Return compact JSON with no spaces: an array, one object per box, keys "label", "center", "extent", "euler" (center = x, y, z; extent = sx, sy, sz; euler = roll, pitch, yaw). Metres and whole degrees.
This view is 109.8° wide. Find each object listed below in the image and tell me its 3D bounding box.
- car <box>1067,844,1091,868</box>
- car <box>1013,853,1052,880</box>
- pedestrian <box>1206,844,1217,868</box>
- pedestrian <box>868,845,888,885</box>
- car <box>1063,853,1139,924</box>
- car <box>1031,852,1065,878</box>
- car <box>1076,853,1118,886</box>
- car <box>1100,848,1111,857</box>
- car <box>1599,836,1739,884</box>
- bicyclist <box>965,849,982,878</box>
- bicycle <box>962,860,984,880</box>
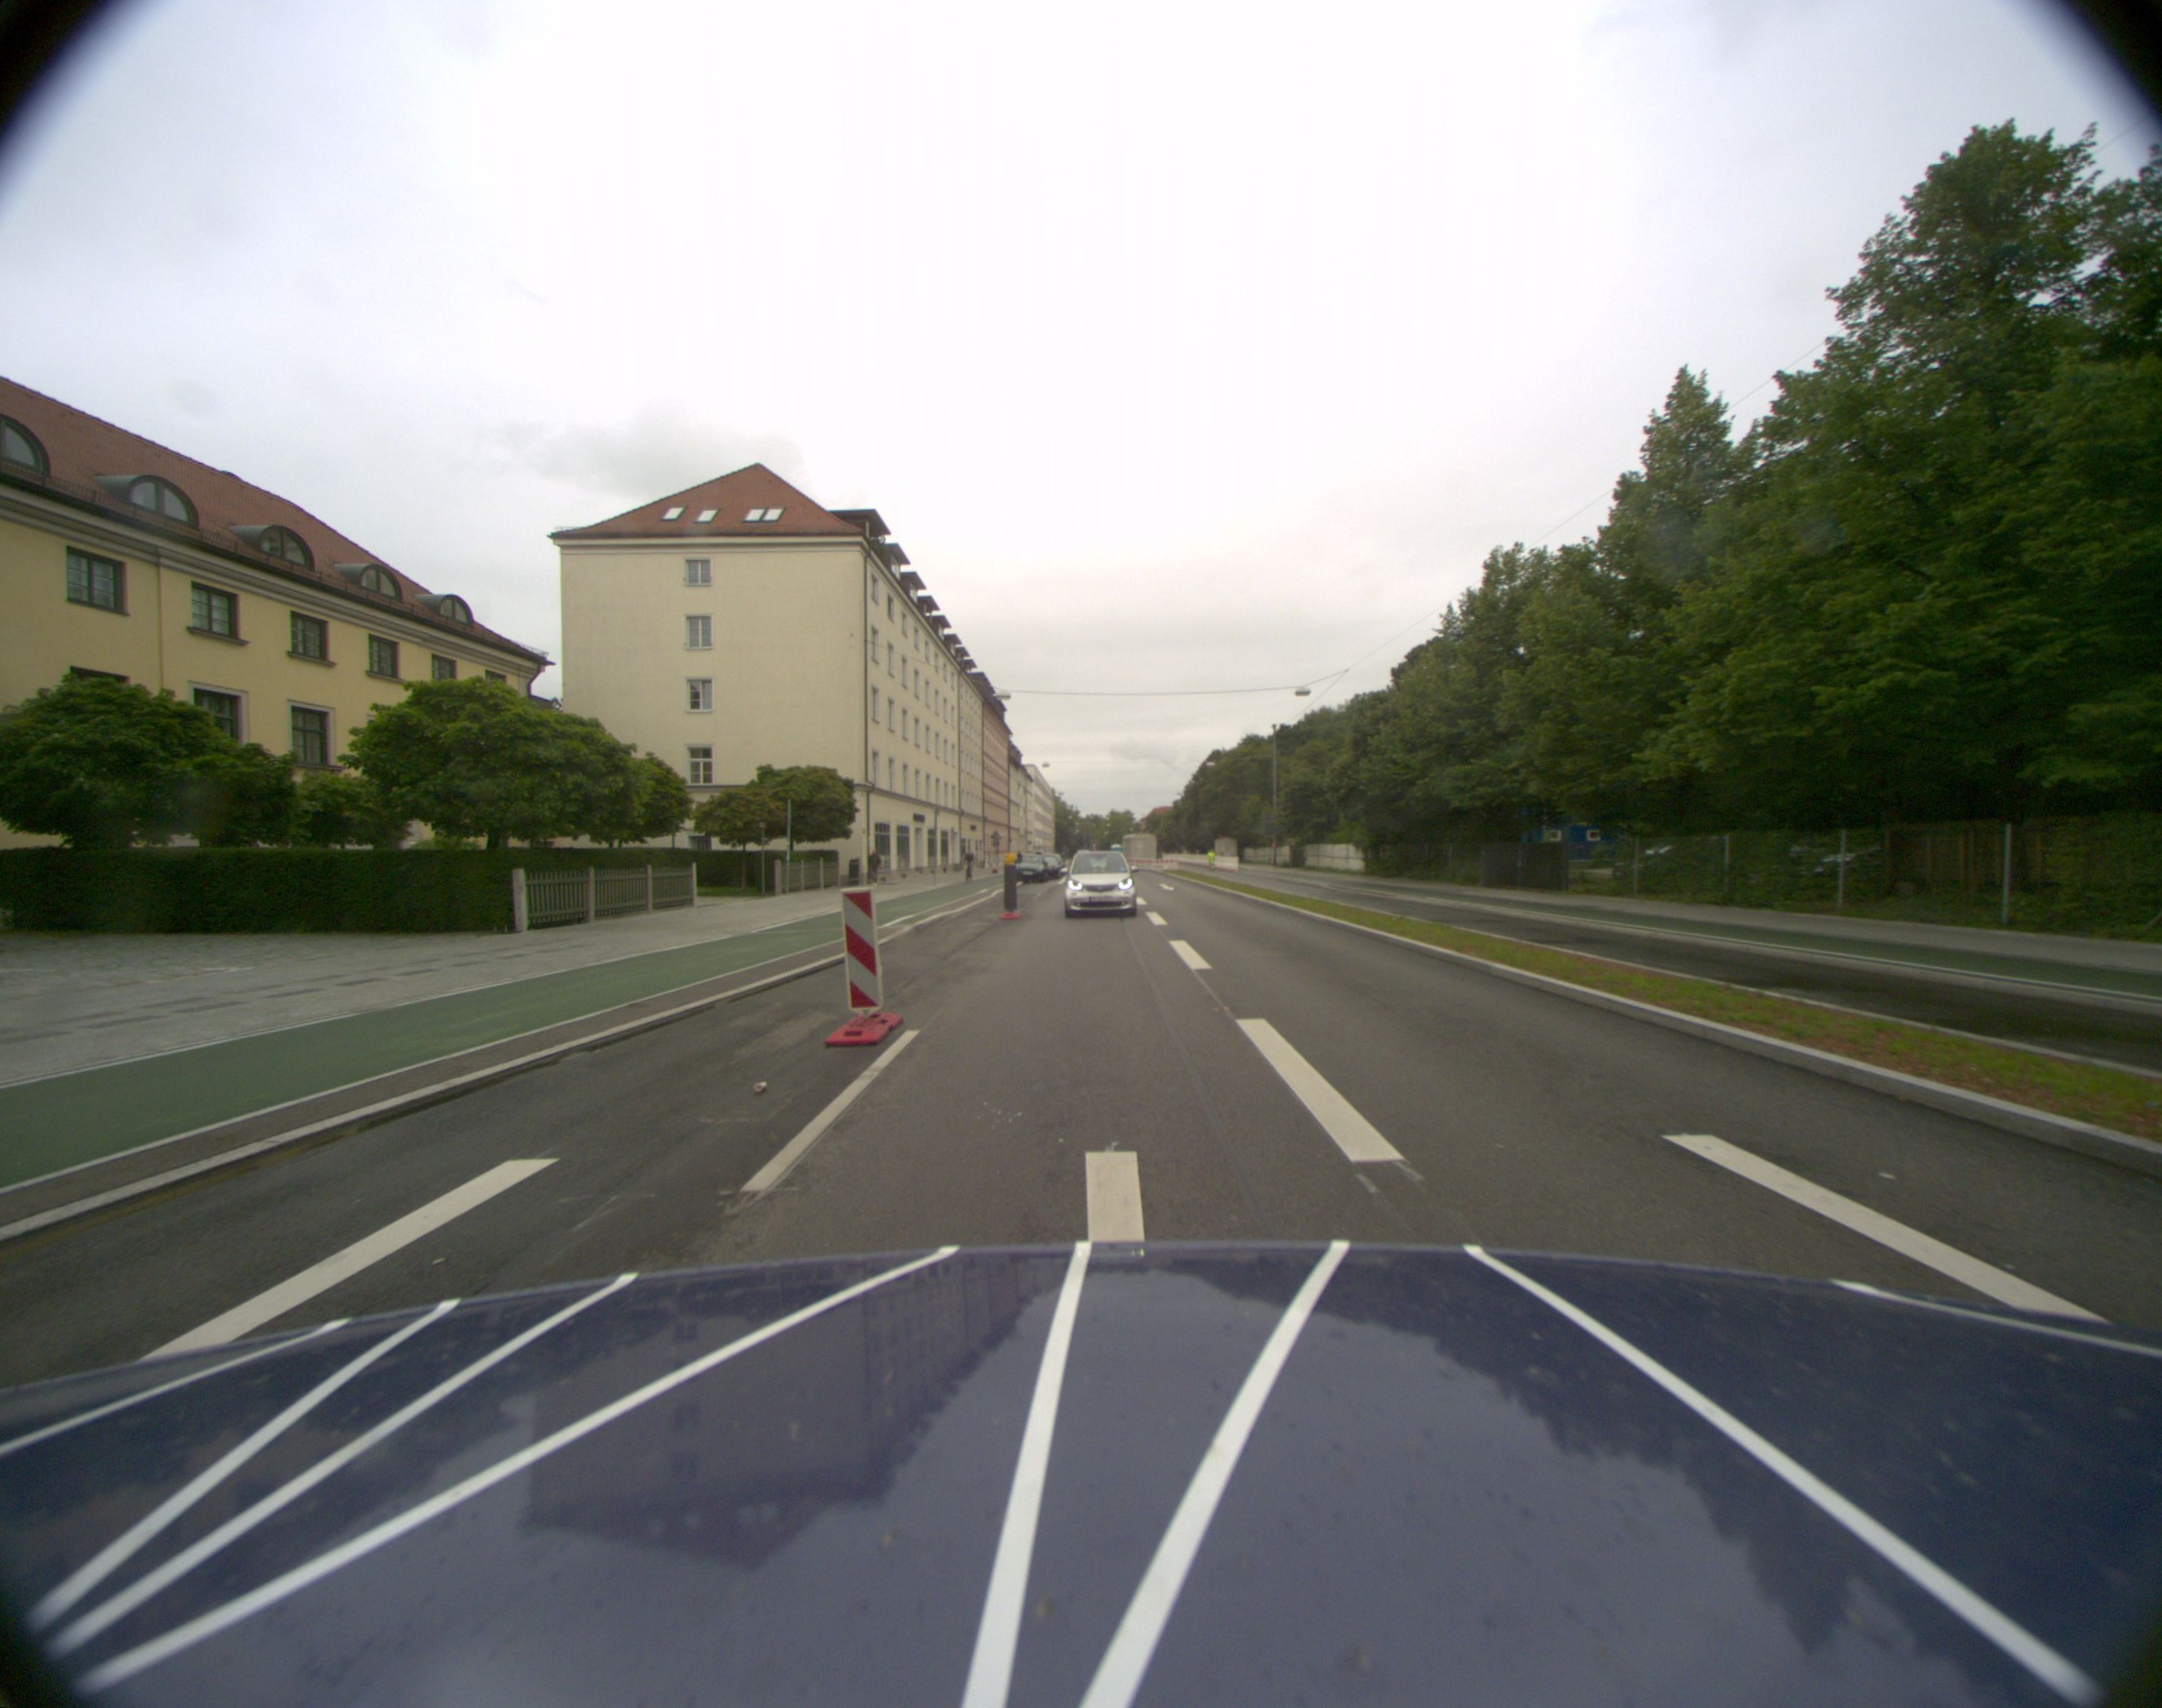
[{"label":"car","center":[-0.126,0.159,64.479],"extent":[1.998,2.002,4.000],"euler":[0,1,1]},{"label":"car","center":[-2.544,0.643,40.557],"extent":[1.739,1.313,4.000],"euler":[-1,1,1]},{"label":"pedestrian","center":[11.065,0.161,64.307],"extent":[0.757,2.002,0.867],"euler":[-2,1,1]},{"label":"pedestrian","center":[-9.508,0.504,35.612],"extent":[0.655,1.863,0.826],"euler":[1,1,1]},{"label":"car","center":[0.475,0.748,18.537],"extent":[1.633,1.495,4.000],"euler":[-1,1,1]},{"label":"car","center":[-1.952,0.635,45.724],"extent":[1.739,1.425,4.000],"euler":[-1,1,1]},{"label":"car","center":[0.771,0.715,37.314],"extent":[1.922,1.433,4.306],"euler":[-3,1,1]},{"label":"car","center":[4.196,-0.223,131.690],"extent":[1.739,1.425,4.000],"euler":[-1,1,1]},{"label":"car","center":[23.290,0.209,30.229],"extent":[4.036,1.700,1.875],"euler":[-2,3,5]},{"label":"bicyclist","center":[-5.850,0.503,41.384],"extent":[0.724,1.543,0.858],"euler":[-2,1,1]},{"label":"bicycle","center":[-5.840,0.859,41.294],"extent":[0.751,1.026,2.531],"euler":[-2,1,1]}]
